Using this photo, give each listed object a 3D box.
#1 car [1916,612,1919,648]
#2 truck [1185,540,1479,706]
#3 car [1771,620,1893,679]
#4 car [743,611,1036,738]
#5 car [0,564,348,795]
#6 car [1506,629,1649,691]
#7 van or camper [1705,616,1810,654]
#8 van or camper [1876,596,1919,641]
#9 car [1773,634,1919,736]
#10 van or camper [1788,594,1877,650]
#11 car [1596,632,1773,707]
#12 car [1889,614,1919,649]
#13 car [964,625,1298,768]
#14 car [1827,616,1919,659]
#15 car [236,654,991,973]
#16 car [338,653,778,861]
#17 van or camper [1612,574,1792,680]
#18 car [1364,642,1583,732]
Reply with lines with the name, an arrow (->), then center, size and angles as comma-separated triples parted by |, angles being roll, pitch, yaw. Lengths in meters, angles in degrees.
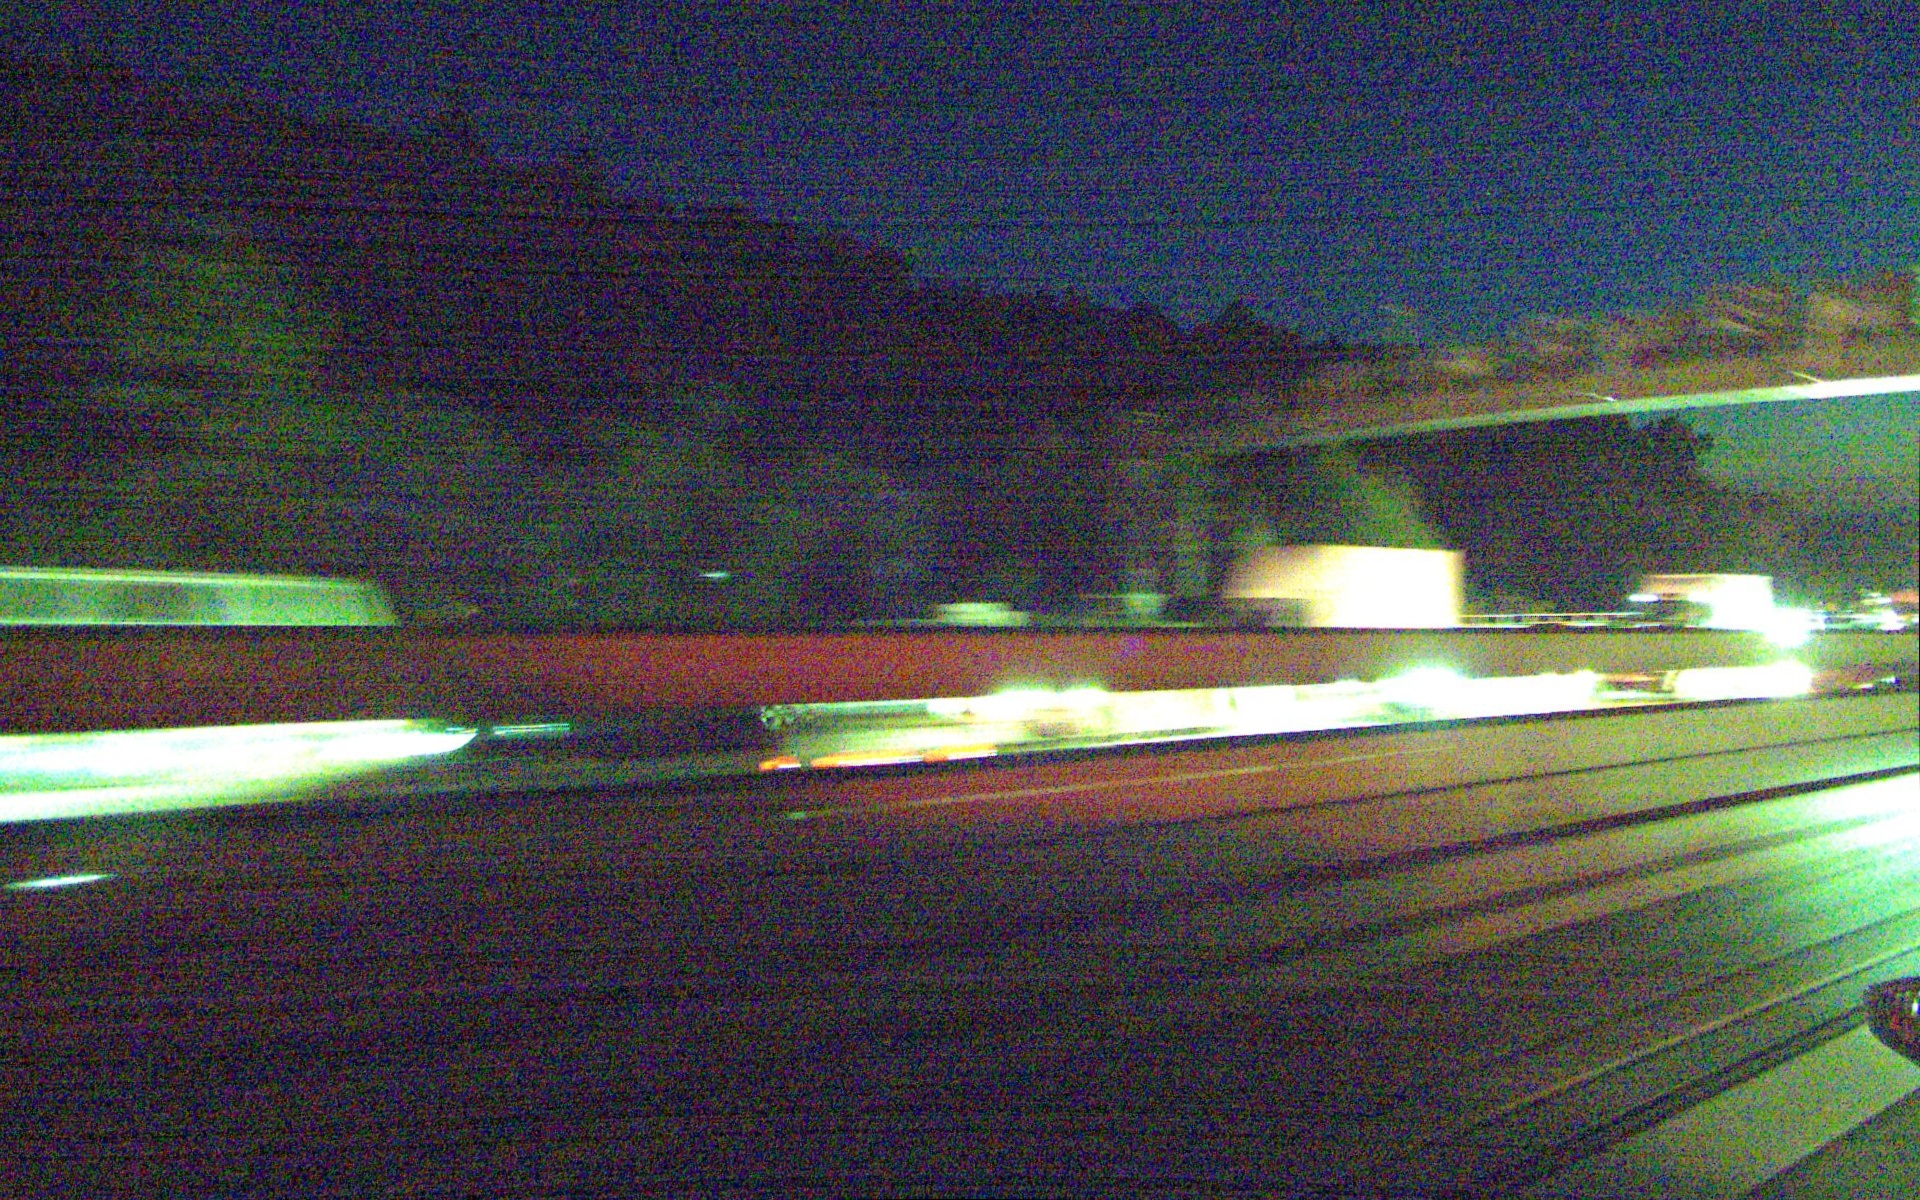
car -> 47.699, 1.413, 48.211 | 5.033, 1.699, 1.871 | 0, 0, -38
truck -> 8.732, 0.572, 23.125 | 7.643, 3.303, 2.361 | 2, -2, -34
car -> 24.764, 1.361, 28.490 | 3.957, 1.560, 1.631 | 1, -1, -33
car -> -1.108, 1.127, 16.307 | 4.341, 1.723, 1.852 | 2, 2, -30
car -> -9.537, 0.818, 11.240 | 4.511, 2.297, 2.121 | 1, -1, -31
car -> 16.841, 1.584, 27.327 | 4.390, 1.560, 1.631 | 1, -1, -33
van or camper -> 36.119, 1.533, 45.466 | 5.159, 1.570, 2.210 | 0, 0, -33
van or camper -> 58.765, 1.094, 61.625 | 7.044, 2.627, 2.564 | 0, 0, -37
car -> 16.448, 1.440, 18.039 | 3.955, 1.587, 1.672 | 1, -1, -32
van or camper -> 44.494, 1.071, 51.154 | 6.552, 2.692, 1.980 | 0, 0, -36
car -> 16.171, 1.484, 22.366 | 4.313, 1.502, 1.632 | 1, -1, -31
car -> 42.278, 1.329, 43.747 | 4.307, 1.406, 1.885 | -1, -2, -37
car -> 2.444, 1.224, 14.042 | 4.403, 1.682, 1.983 | 1, -1, -32
car -> 37.853, 1.550, 41.595 | 4.691, 1.675, 1.914 | 2, -1, -36
car -> -2.041, 1.112, 6.610 | 4.241, 1.372, 1.746 | 1, -1, -31
car -> -4.080, 1.460, 10.497 | 3.950, 1.766, 1.731 | 1, -2, -28
van or camper -> 23.540, 0.796, 31.758 | 7.045, 3.043, 2.210 | 0, 0, -32
car -> 9.105, 1.453, 17.723 | 4.173, 1.353, 1.525 | 1, -1, -32
